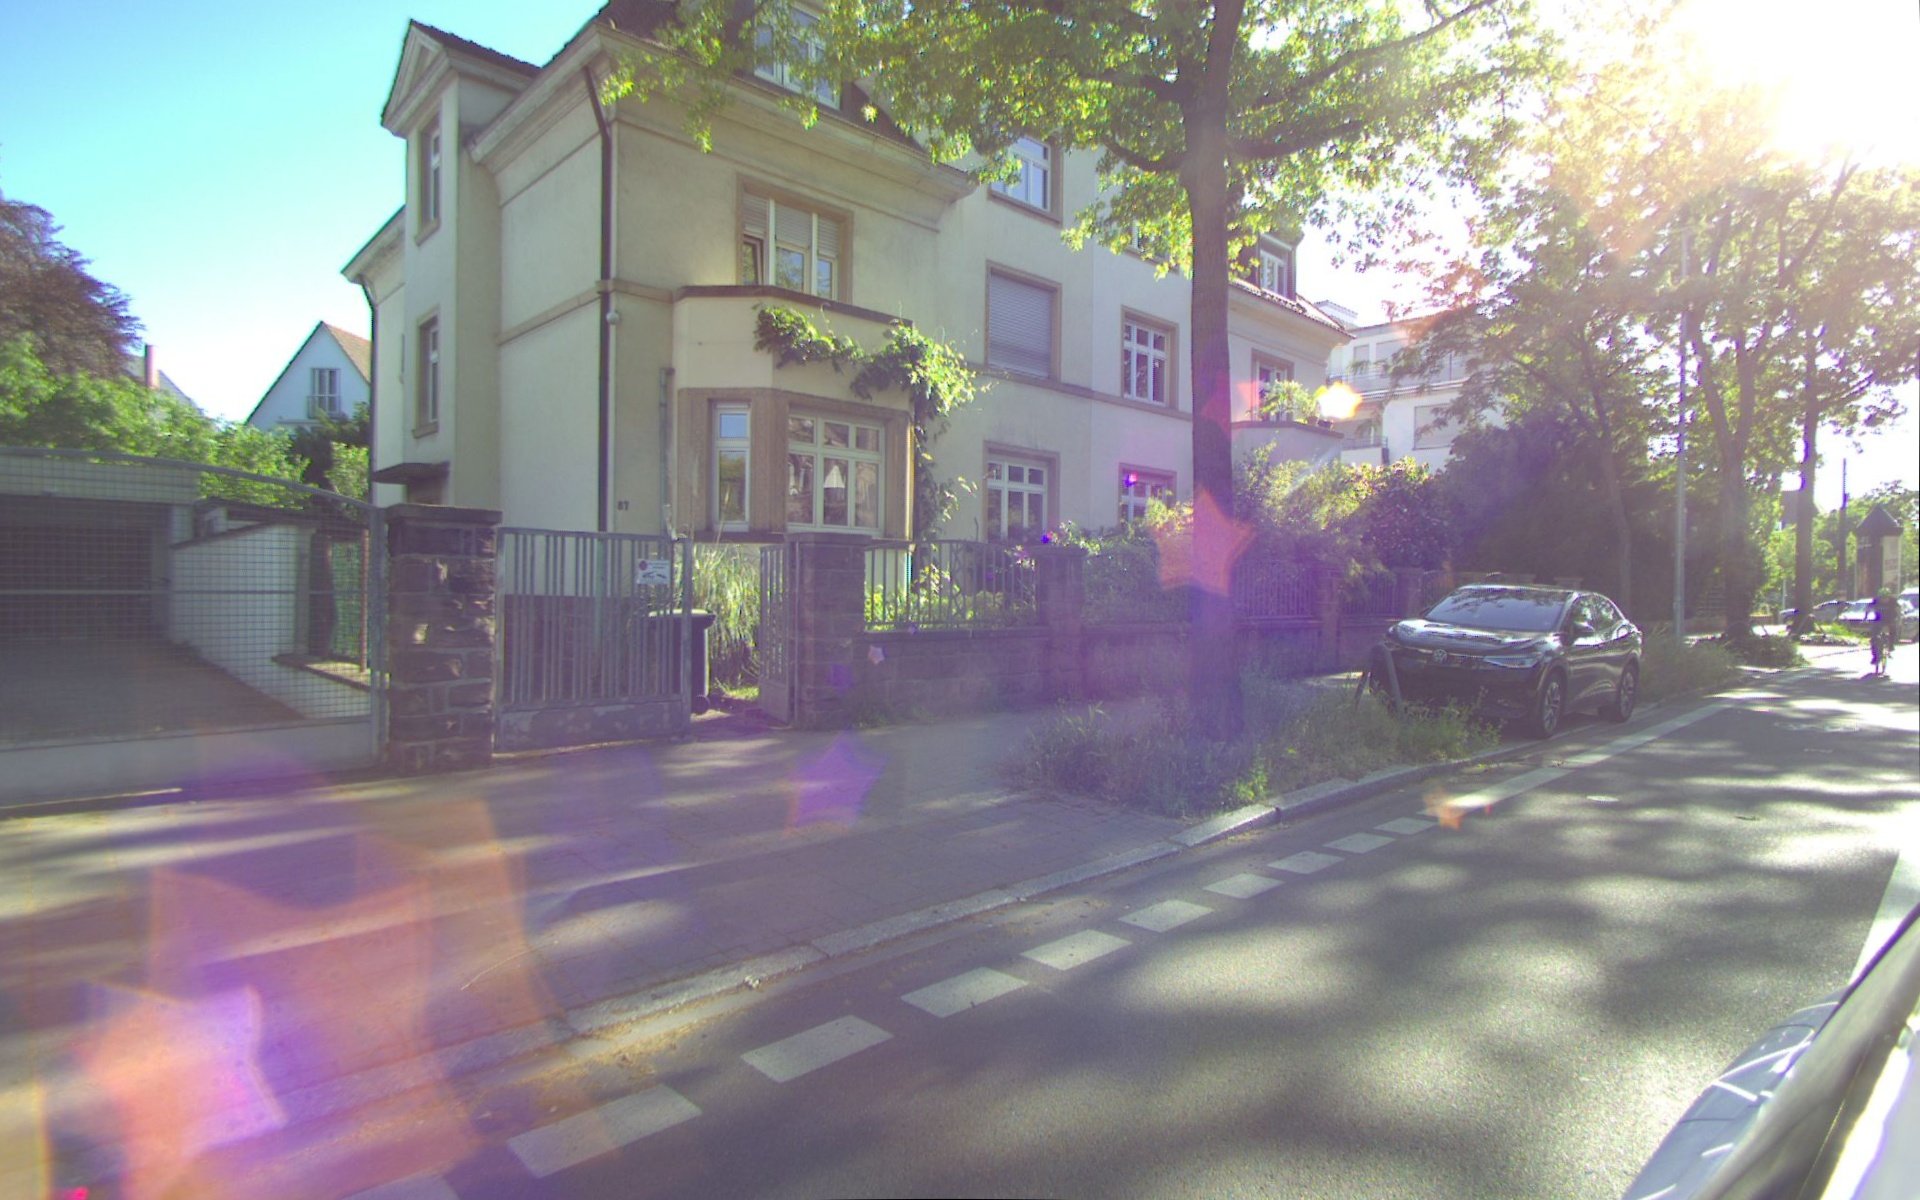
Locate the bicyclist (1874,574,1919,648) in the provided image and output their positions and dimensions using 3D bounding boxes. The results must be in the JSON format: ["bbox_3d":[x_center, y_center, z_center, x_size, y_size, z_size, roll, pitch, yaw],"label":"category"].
[{"bbox_3d":[19.634,0.209,21.148,1.095,1.506,0.645,0,0,-41],"label":"bicyclist"}]

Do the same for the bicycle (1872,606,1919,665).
[{"bbox_3d":[19.615,0.712,21.124,1.868,1.158,0.644,0,0,-41],"label":"bicycle"}]

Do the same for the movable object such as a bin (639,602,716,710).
[{"bbox_3d":[-3.044,0.567,10.845,0.697,1.070,1.093,0,0,-20],"label":"movable object such as a bin"}]

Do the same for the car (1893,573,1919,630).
[{"bbox_3d":[36.788,0.054,38.080,4.503,2.039,1.997,0,1,-41],"label":"car"}]

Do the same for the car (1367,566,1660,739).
[{"bbox_3d":[6.678,0.498,12.040,4.021,1.626,1.743,0,4,-42],"label":"car"}]

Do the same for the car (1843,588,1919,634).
[{"bbox_3d":[31.553,0.341,34.418,3.930,1.469,1.785,0,1,-41],"label":"car"}]
